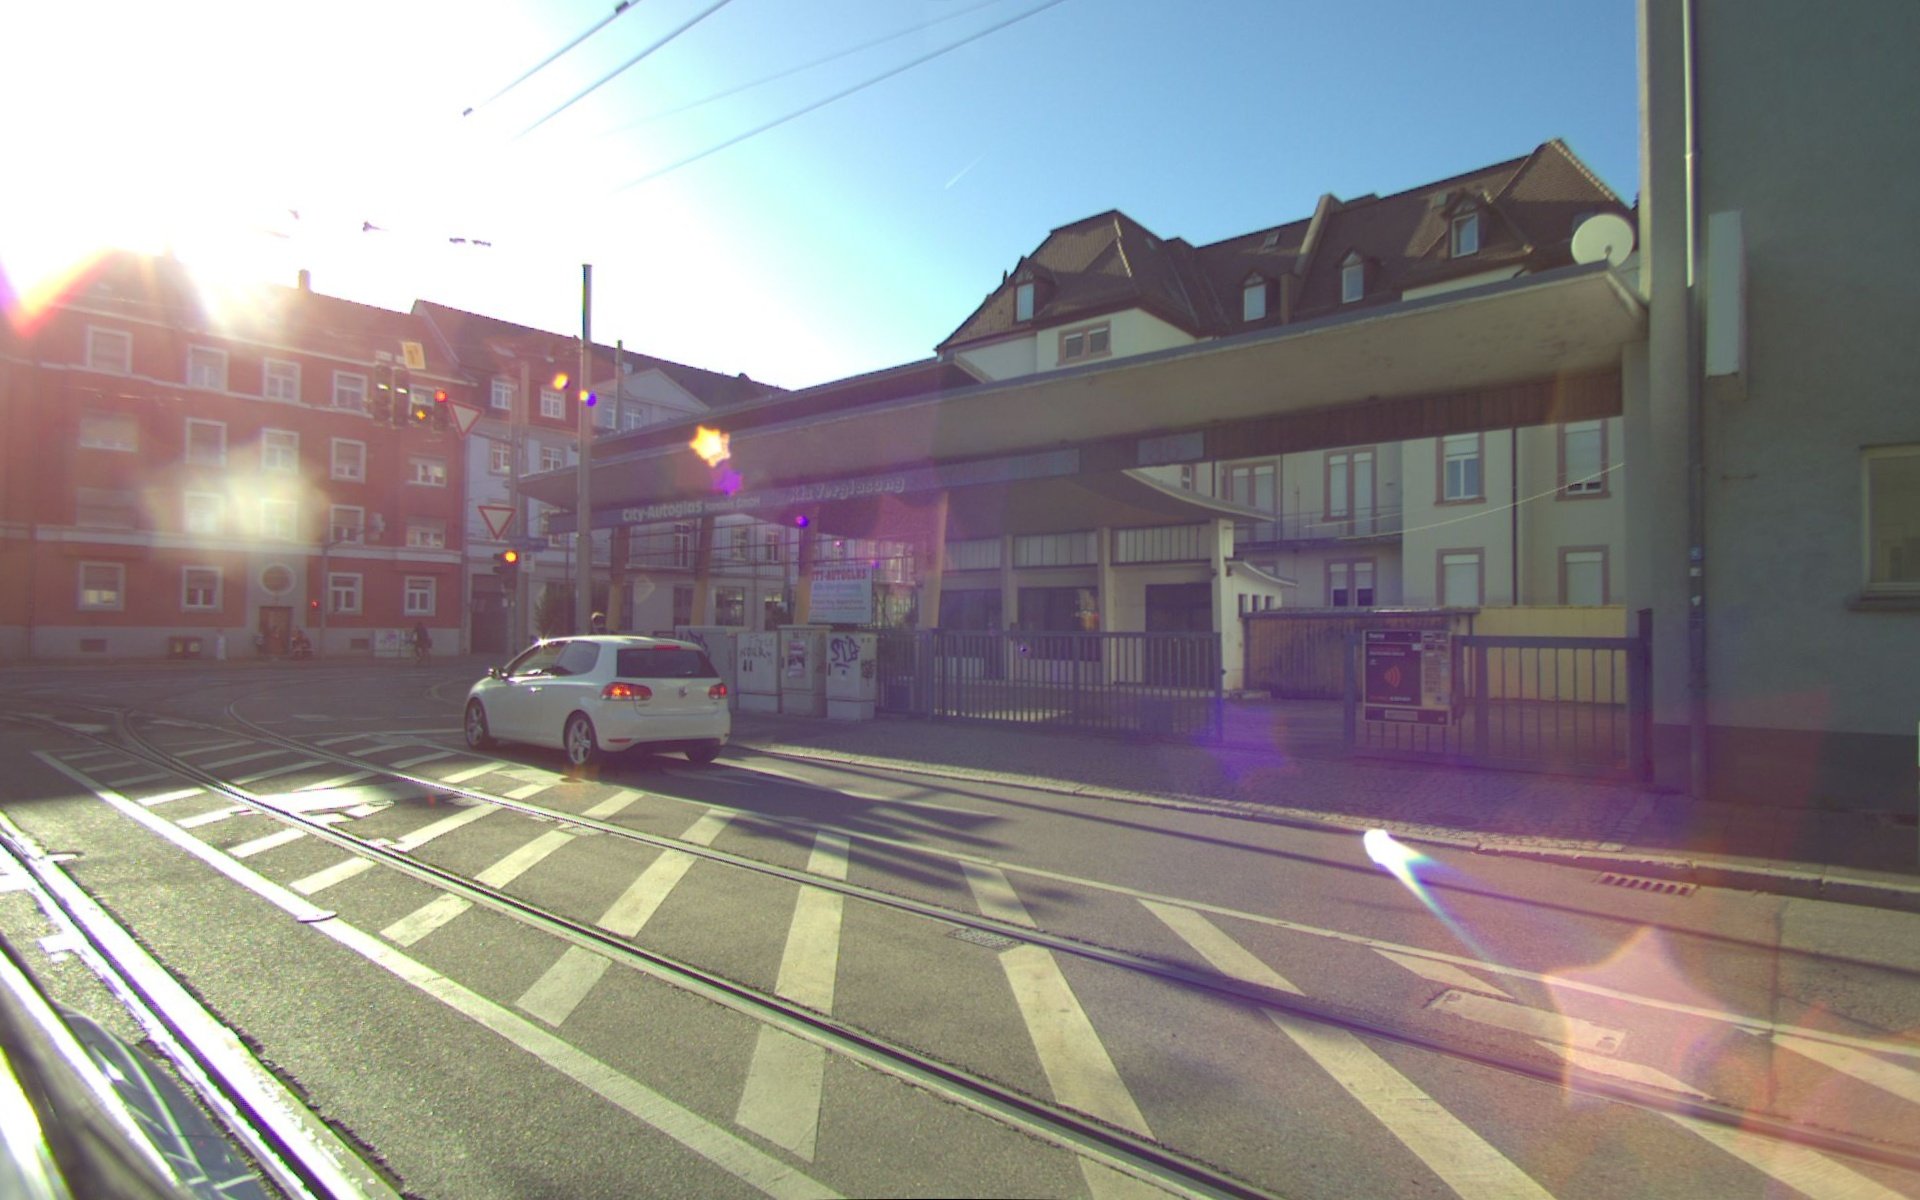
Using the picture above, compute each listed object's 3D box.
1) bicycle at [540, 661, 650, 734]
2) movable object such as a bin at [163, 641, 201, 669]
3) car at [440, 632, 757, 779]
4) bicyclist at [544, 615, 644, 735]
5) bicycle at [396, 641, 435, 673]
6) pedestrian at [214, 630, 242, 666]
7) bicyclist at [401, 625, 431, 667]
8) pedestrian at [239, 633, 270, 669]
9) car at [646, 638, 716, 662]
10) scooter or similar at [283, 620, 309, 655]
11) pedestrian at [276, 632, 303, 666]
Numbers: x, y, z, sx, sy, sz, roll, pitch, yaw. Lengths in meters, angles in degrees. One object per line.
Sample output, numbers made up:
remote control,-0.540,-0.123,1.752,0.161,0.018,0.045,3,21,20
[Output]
bicycle,-5.766,1.502,15.930,2.047,1.025,0.717,-2,-4,41
movable object such as a bin,-35.073,2.462,45.612,1.215,1.259,0.874,3,-4,-44
car,-4.480,1.158,12.250,4.188,1.469,1.772,-2,-4,41
bicyclist,-5.764,1.150,15.956,1.251,1.800,0.900,-1,-3,36
bicycle,-20.403,2.118,37.925,0.882,1.134,2.069,3,-3,-39
pedestrian,-33.731,2.221,46.617,0.789,1.645,0.650,0,-2,18
bicyclist,-20.403,1.736,37.977,0.864,1.538,1.054,2,-3,-34
pedestrian,-33.078,2.400,47.474,0.820,1.645,0.795,1,-2,2
car,-17.395,3.114,63.267,1.723,1.463,3.947,-2,-3,39
scooter or similar,-31.684,1.799,48.283,0.647,1.645,0.793,0,-2,8
pedestrian,-32.304,2.354,48.765,0.647,1.645,0.793,0,-2,8
